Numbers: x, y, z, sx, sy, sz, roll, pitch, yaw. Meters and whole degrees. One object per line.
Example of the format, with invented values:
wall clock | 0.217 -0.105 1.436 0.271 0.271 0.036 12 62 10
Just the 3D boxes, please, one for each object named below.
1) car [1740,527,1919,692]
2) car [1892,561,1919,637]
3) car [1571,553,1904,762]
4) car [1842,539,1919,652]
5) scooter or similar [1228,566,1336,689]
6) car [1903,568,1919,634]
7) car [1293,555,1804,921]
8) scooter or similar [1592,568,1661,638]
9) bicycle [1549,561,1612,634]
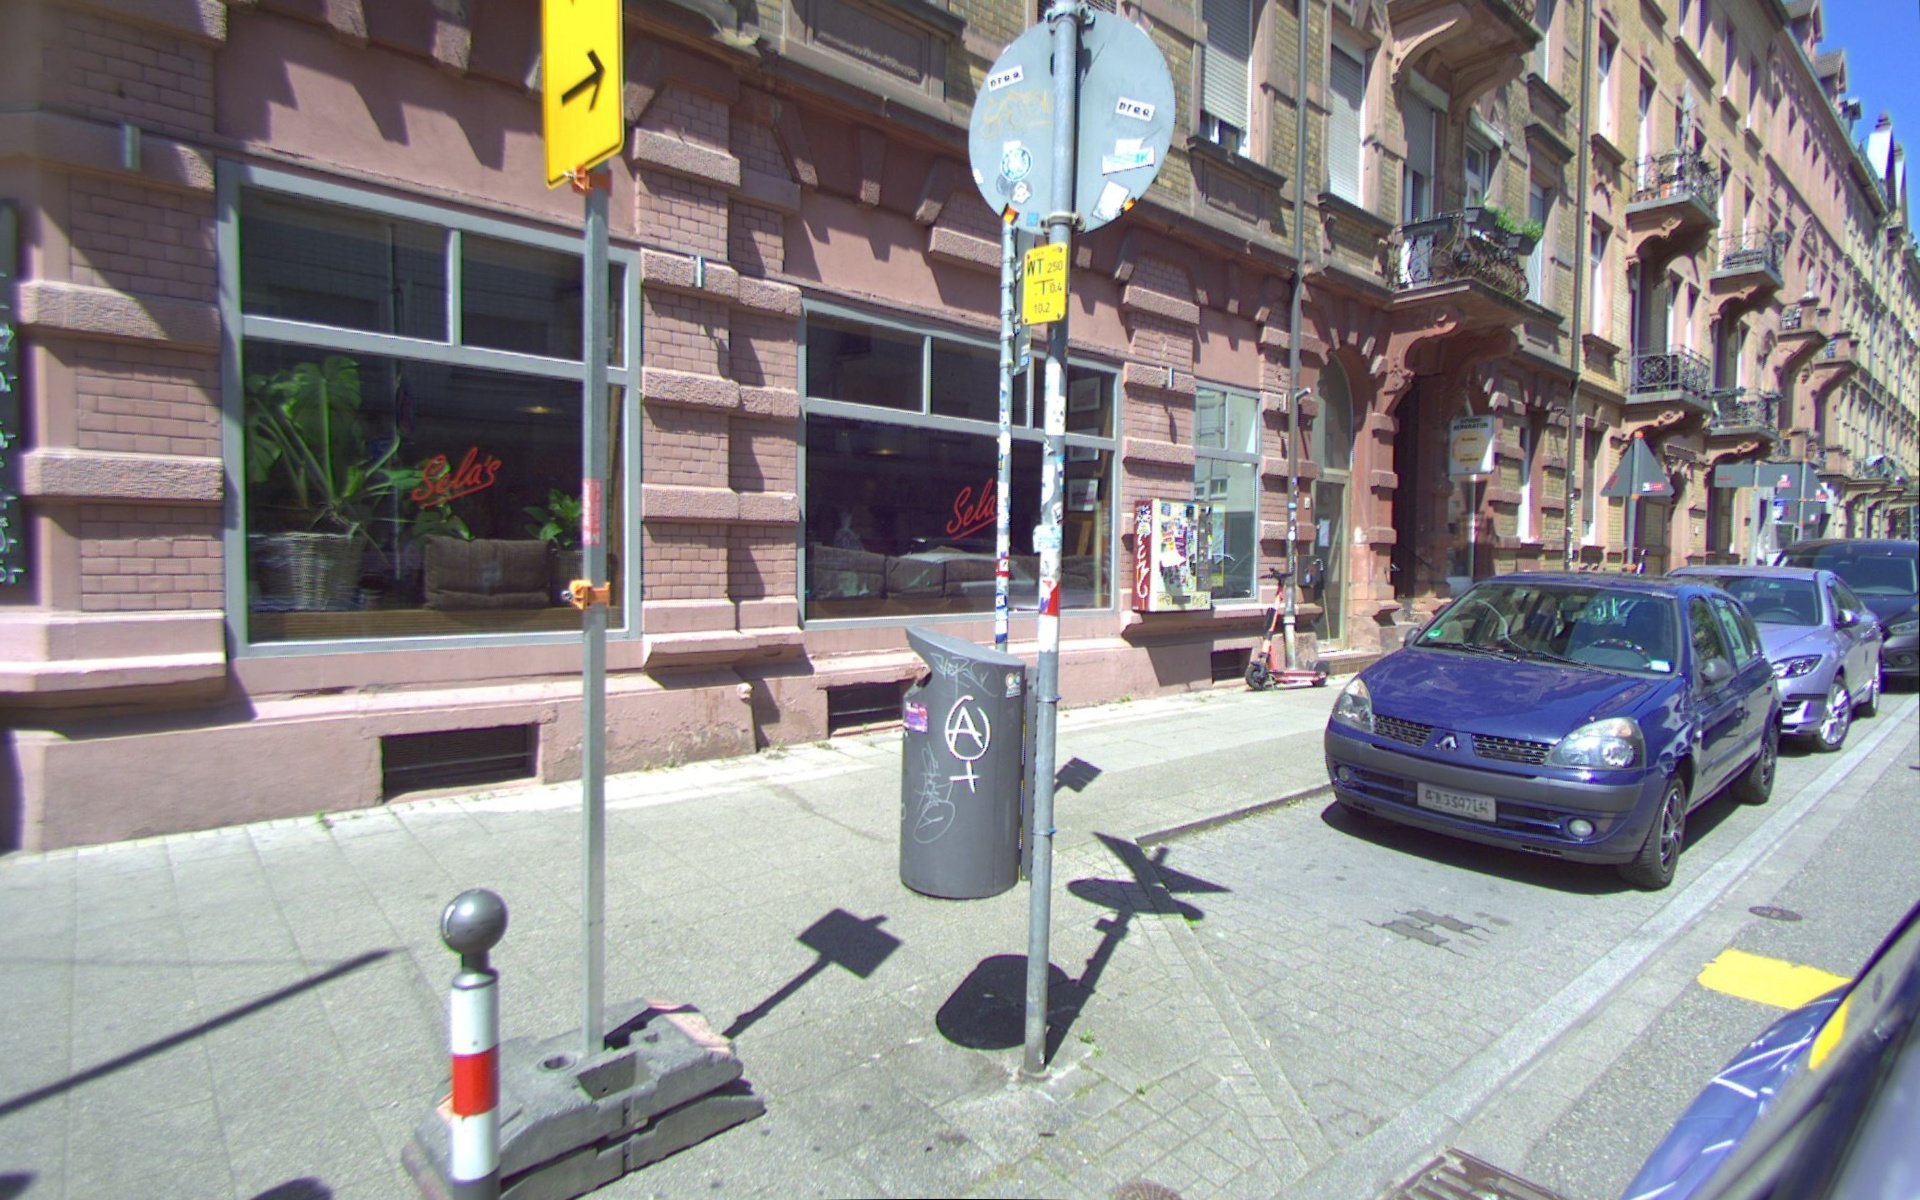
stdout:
car | 11.583 0.016 12.950 4.266 1.788 1.827 -2 4 -43
car | 20.254 -0.059 20.677 1.760 1.467 3.846 1 3 43
car | 7.345 0.324 9.379 4.411 1.449 1.728 -2 5 -43
car | 16.367 -0.126 17.114 3.932 1.755 1.704 -2 2 -42
scooter or similar | 3.281 0.255 10.281 1.247 1.191 0.294 -1 2 -32
car | 23.597 -0.007 23.840 3.935 1.479 1.826 -2 3 -44
car | 3.610 0.489 5.938 3.600 1.449 1.629 -2 5 -44
scooter or similar | 11.768 0.016 17.834 2.112 1.167 0.477 -2 2 -42
bicycle | 9.951 -0.067 16.204 1.725 1.117 0.354 -2 3 -42
